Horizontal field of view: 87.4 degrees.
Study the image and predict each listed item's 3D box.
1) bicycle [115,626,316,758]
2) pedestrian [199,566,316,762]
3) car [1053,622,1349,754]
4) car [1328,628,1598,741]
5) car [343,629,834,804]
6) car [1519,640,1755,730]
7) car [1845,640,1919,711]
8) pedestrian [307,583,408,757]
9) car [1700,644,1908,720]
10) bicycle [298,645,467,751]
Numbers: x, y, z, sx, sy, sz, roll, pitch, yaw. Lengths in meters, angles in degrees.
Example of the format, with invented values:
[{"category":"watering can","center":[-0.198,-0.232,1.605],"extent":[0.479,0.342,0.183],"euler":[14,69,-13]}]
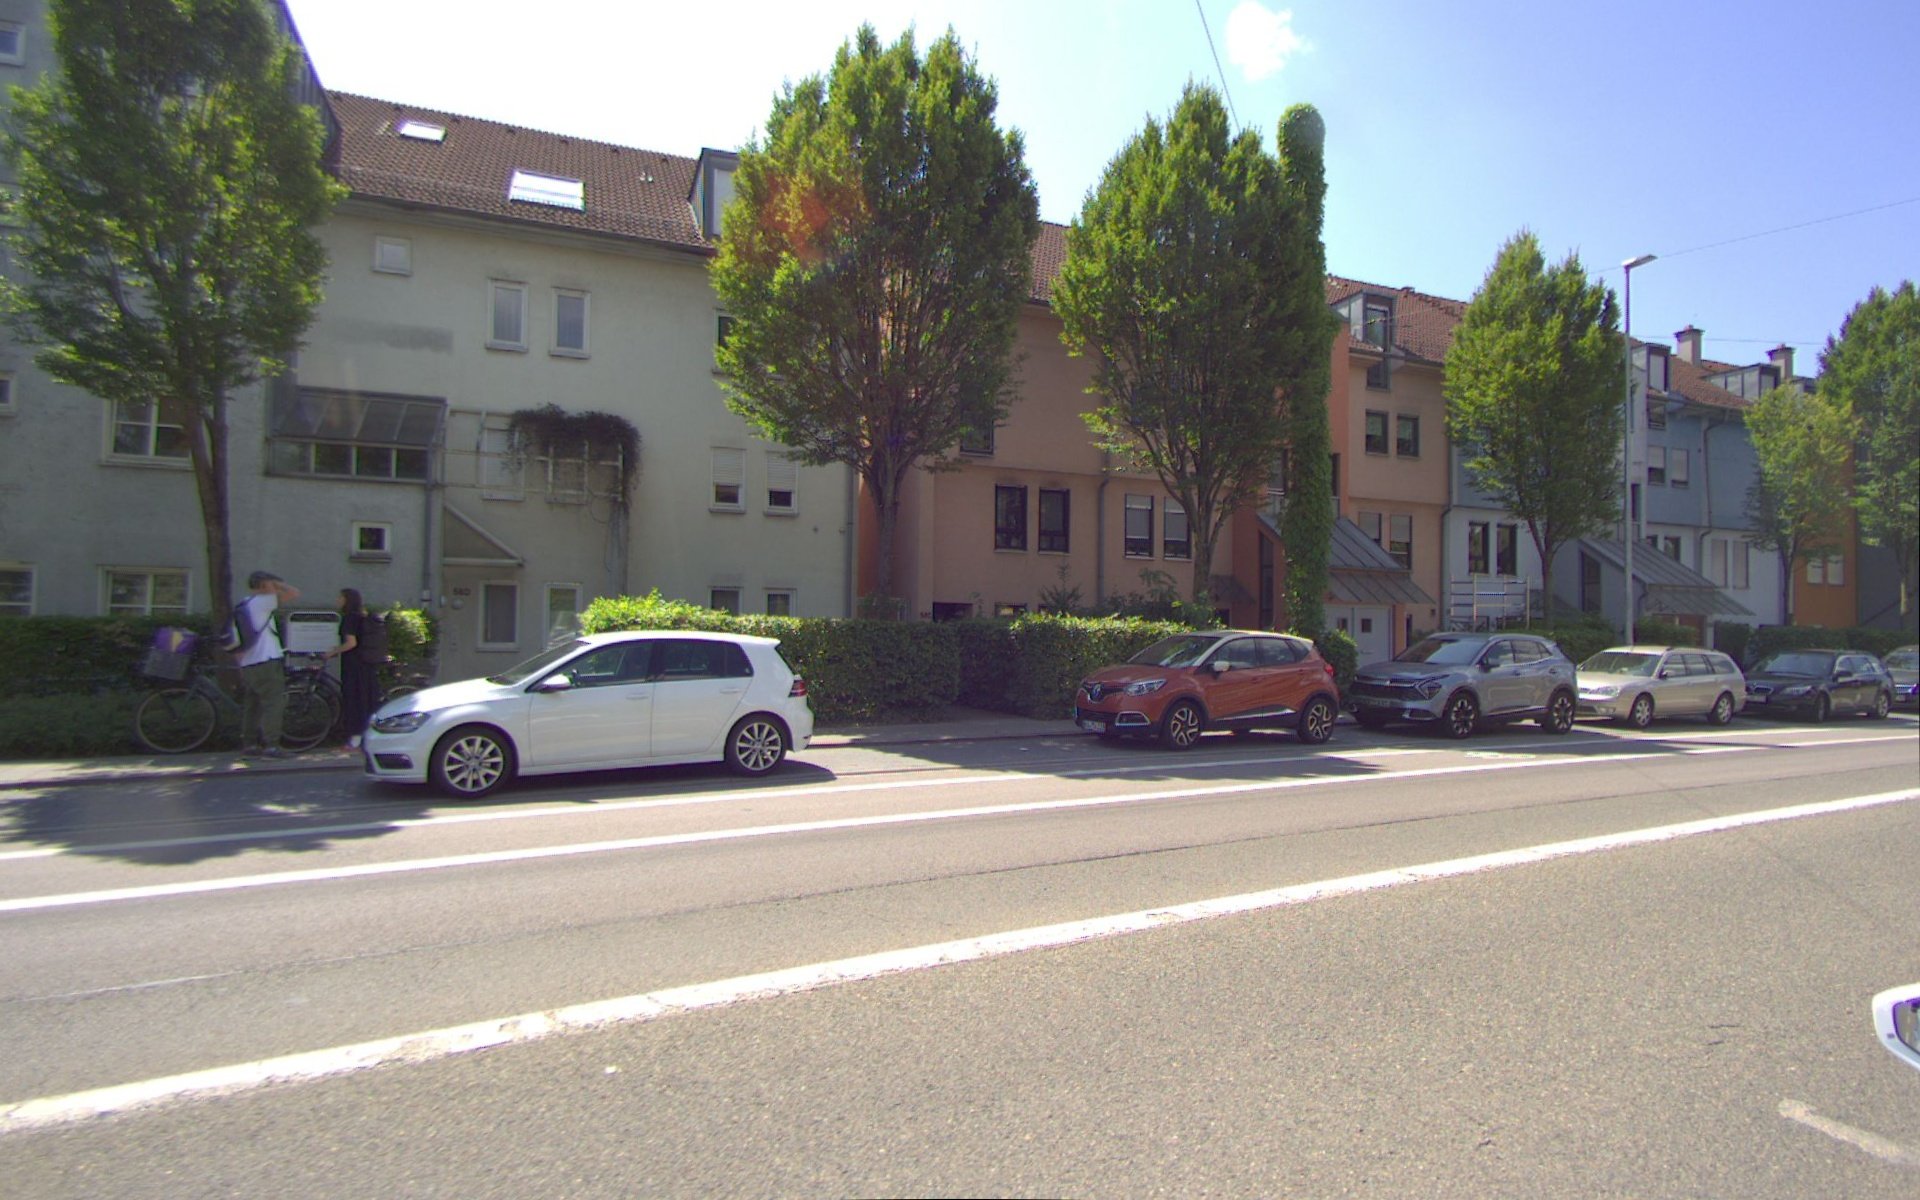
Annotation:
[{"category":"bicycle","center":[-7.918,0.958,10.764],"extent":[1.645,1.333,0.454],"euler":[1,-2,-29]},{"category":"pedestrian","center":[-7.201,0.646,10.327],"extent":[0.694,1.948,0.644],"euler":[0,-2,1]},{"category":"car","center":[3.485,1.176,14.291],"extent":[4.126,1.630,1.647],"euler":[2,-2,-31]},{"category":"car","center":[8.510,1.346,16.896],"extent":[4.628,1.631,1.649],"euler":[1,0,-28]},{"category":"car","center":[-3.595,1.028,10.077],"extent":[4.347,1.429,1.647],"euler":[2,-2,-31]},{"category":"car","center":[13.292,1.596,19.666],"extent":[4.832,1.528,1.650],"euler":[1,0,-26]},{"category":"car","center":[23.994,1.833,24.829],"extent":[4.228,1.638,1.651],"euler":[1,-2,-25]},{"category":"pedestrian","center":[-6.592,0.743,11.000],"extent":[0.672,1.818,0.702],"euler":[-1,-2,33]},{"category":"car","center":[18.740,1.764,22.270],"extent":[4.899,1.466,1.735],"euler":[2,0,-27]},{"category":"bicycle","center":[-6.617,1.094,11.552],"extent":[1.648,1.141,0.453],"euler":[2,-2,-35]}]
